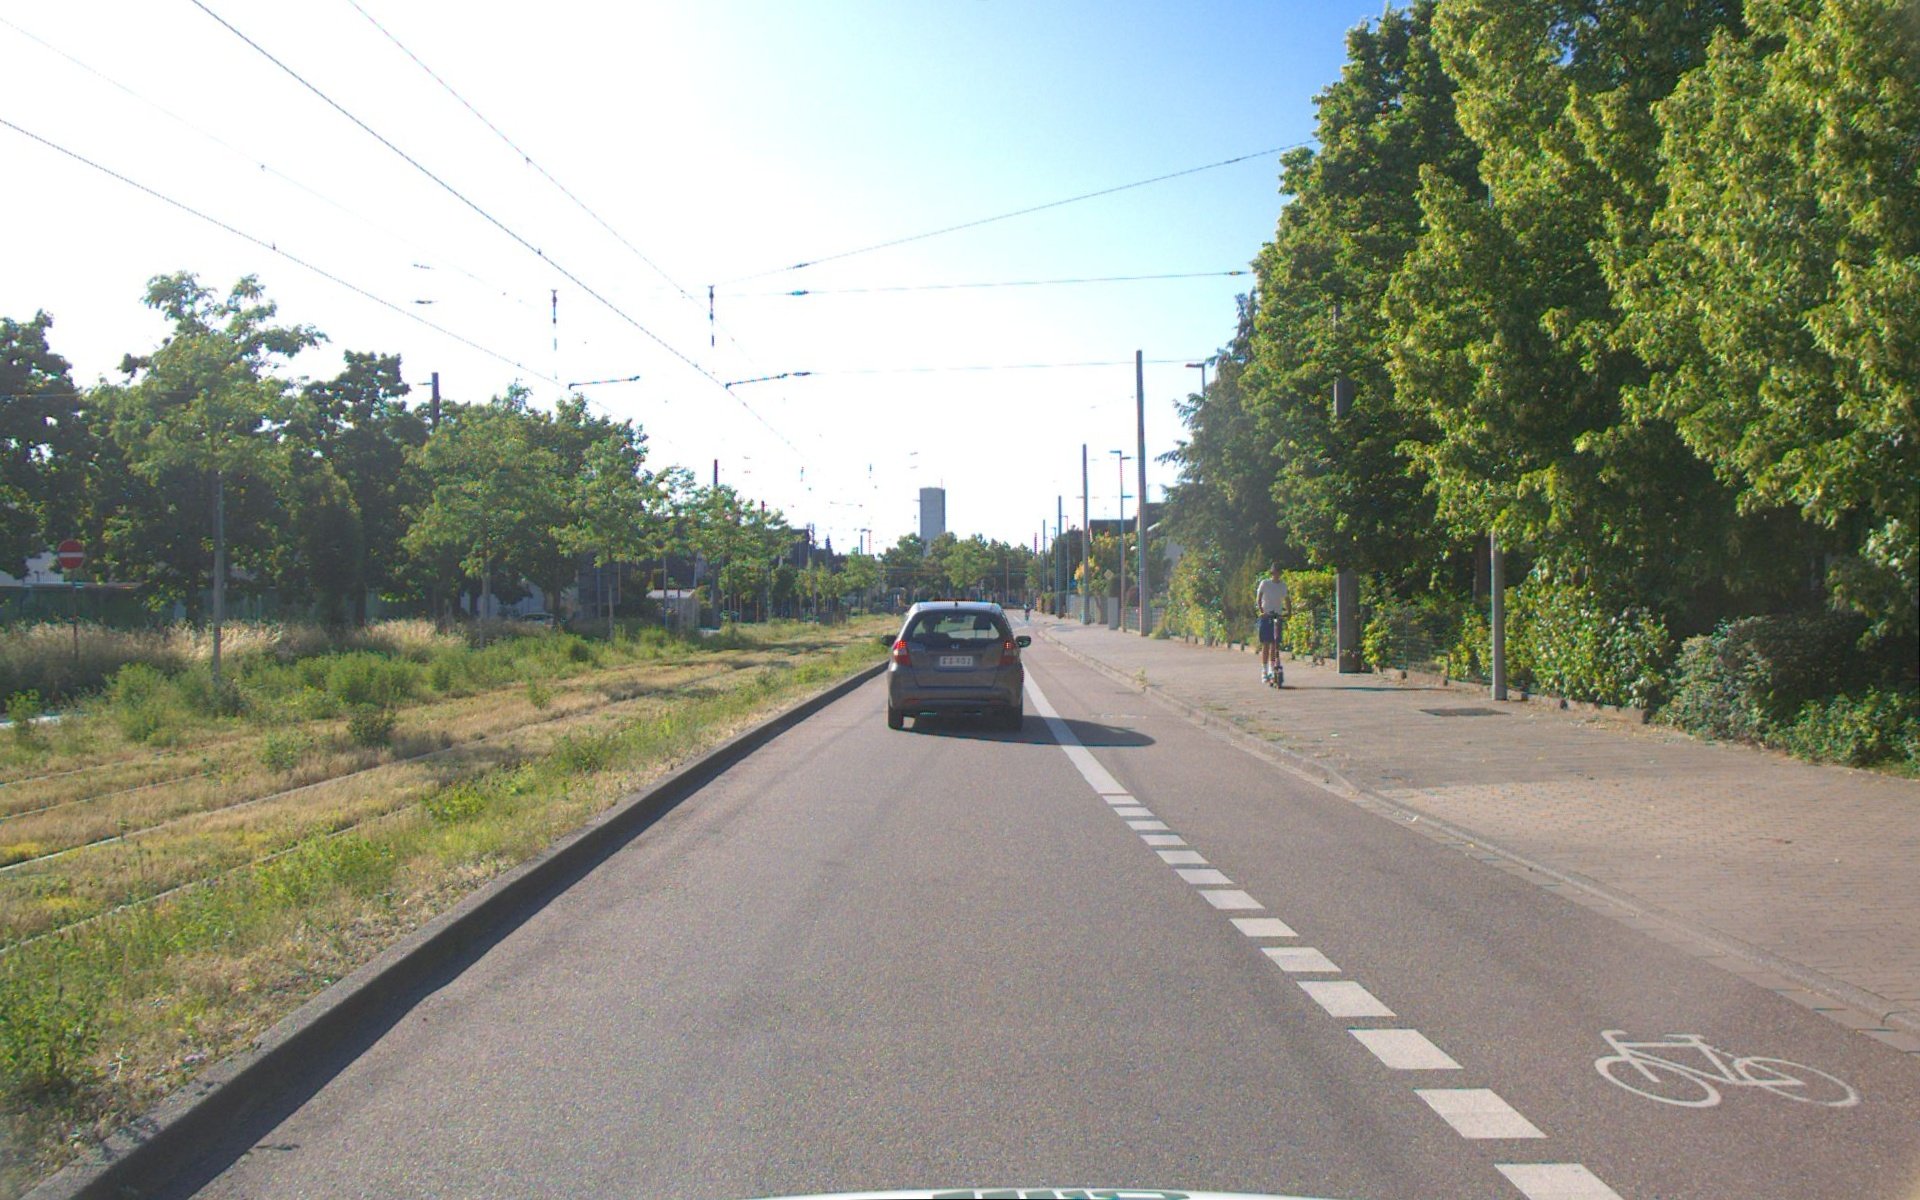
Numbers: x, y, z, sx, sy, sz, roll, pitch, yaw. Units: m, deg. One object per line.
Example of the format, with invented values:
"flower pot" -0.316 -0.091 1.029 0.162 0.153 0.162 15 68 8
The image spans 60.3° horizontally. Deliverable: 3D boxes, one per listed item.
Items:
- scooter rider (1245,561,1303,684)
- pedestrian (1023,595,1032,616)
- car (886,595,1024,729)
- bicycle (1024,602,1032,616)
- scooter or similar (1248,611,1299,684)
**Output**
"scooter rider" 5.073 0.360 26.757 0.701 1.934 0.934 -1 0 -1
"pedestrian" 6.088 0.483 149.102 0.707 1.832 1.164 -1 0 0
"car" -0.055 0.721 21.014 1.591 1.526 3.456 1 0 0
"bicycle" 6.117 0.786 149.103 0.502 1.263 3.089 -1 0 0
"scooter or similar" 5.091 0.757 26.913 0.528 1.138 1.417 -1 0 -1
